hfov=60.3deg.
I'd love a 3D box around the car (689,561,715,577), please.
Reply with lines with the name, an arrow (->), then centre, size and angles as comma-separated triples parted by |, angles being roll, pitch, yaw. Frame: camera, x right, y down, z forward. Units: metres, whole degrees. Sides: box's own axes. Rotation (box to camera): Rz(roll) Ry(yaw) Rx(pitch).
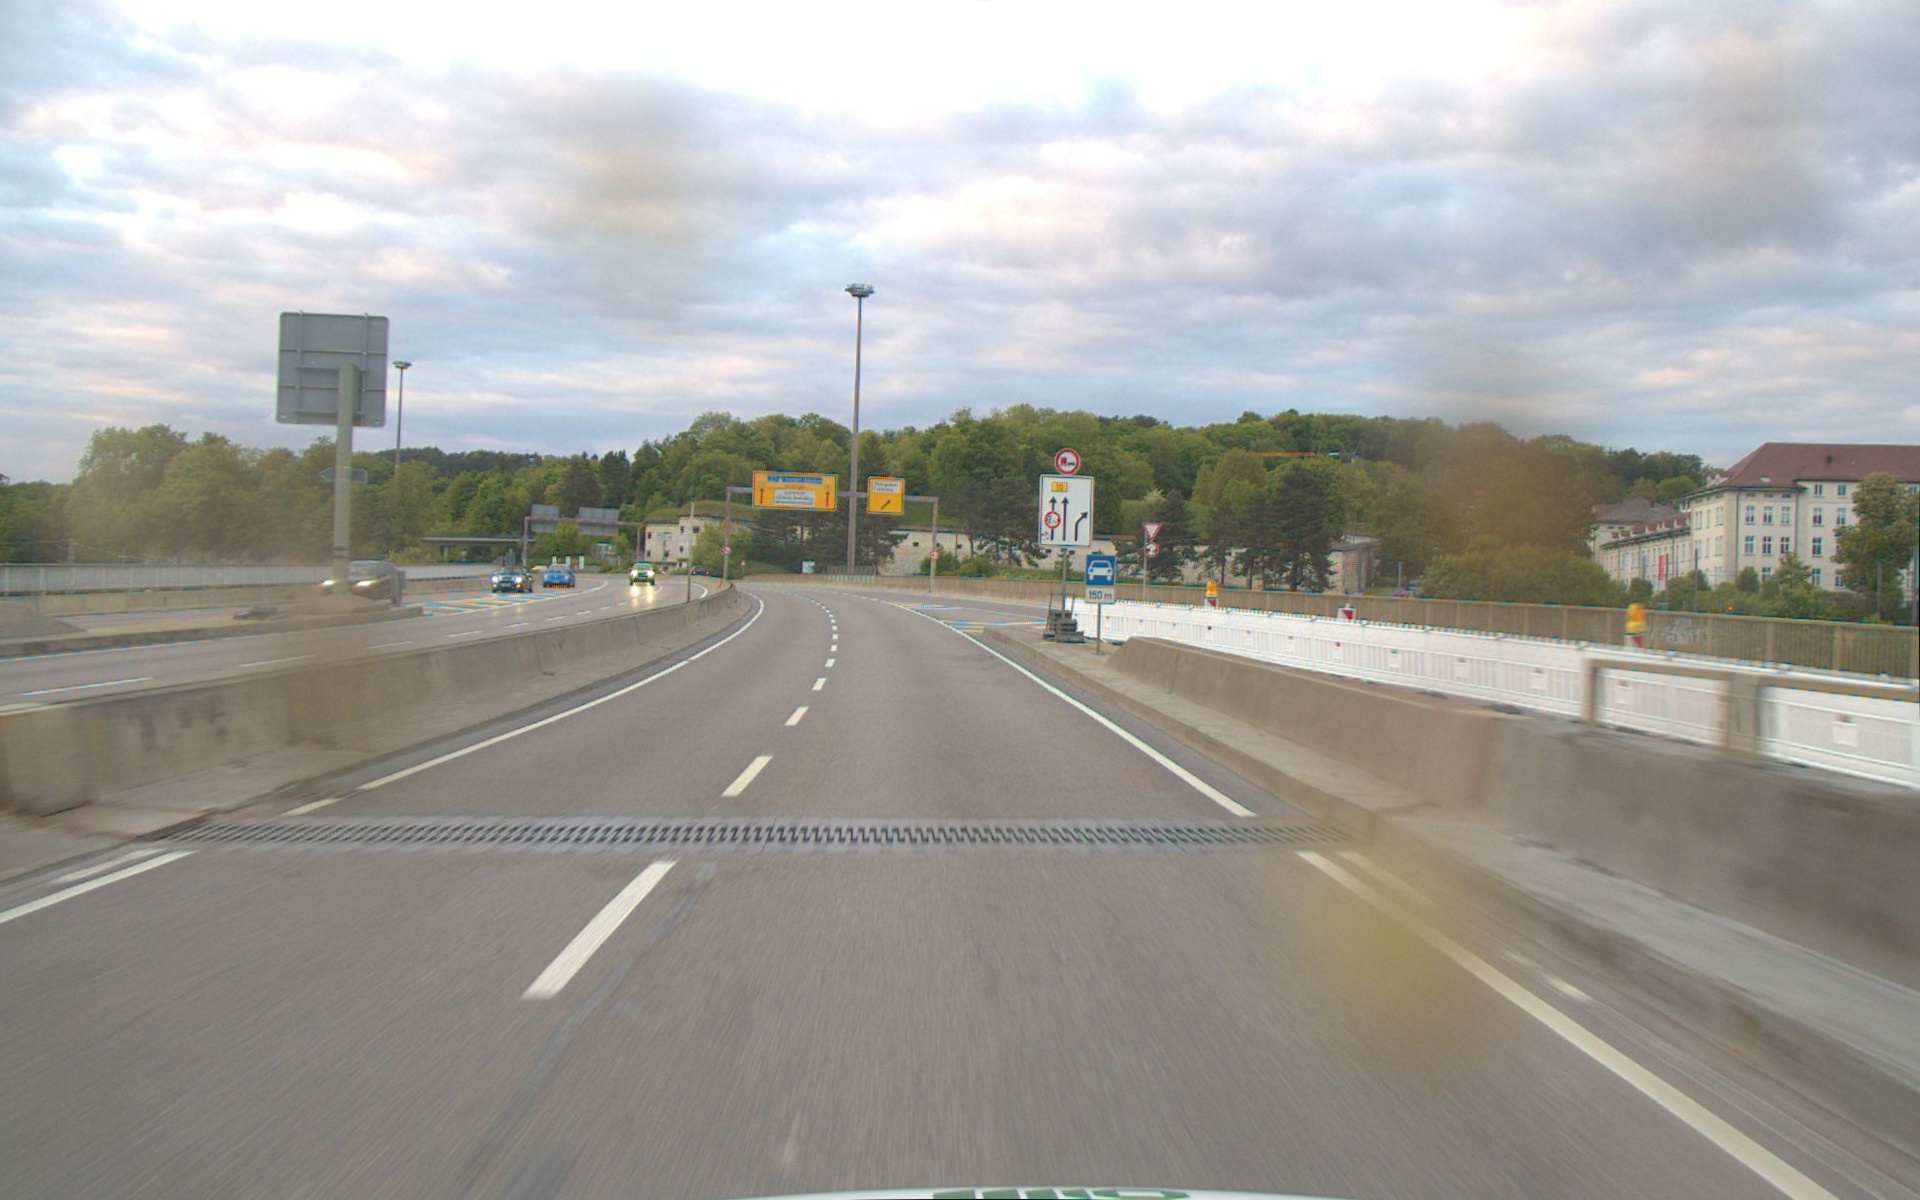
car -> -29.821, -3.589, 190.996 | 2.269, 1.794, 4.240 | 3, 0, -18

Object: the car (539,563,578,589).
car -> -25.989, -1.587, 107.176 | 1.861, 1.623, 4.158 | 1, 1, -6

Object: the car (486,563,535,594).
car -> -24.059, -1.153, 88.632 | 1.761, 1.512, 3.838 | 3, 0, -5

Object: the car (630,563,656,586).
car -> -23.125, -1.861, 120.903 | 1.680, 1.520, 4.071 | 5, 0, -10

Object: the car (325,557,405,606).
car -> -22.538, -0.693, 62.786 | 1.603, 1.747, 3.999 | 3, 0, -1
